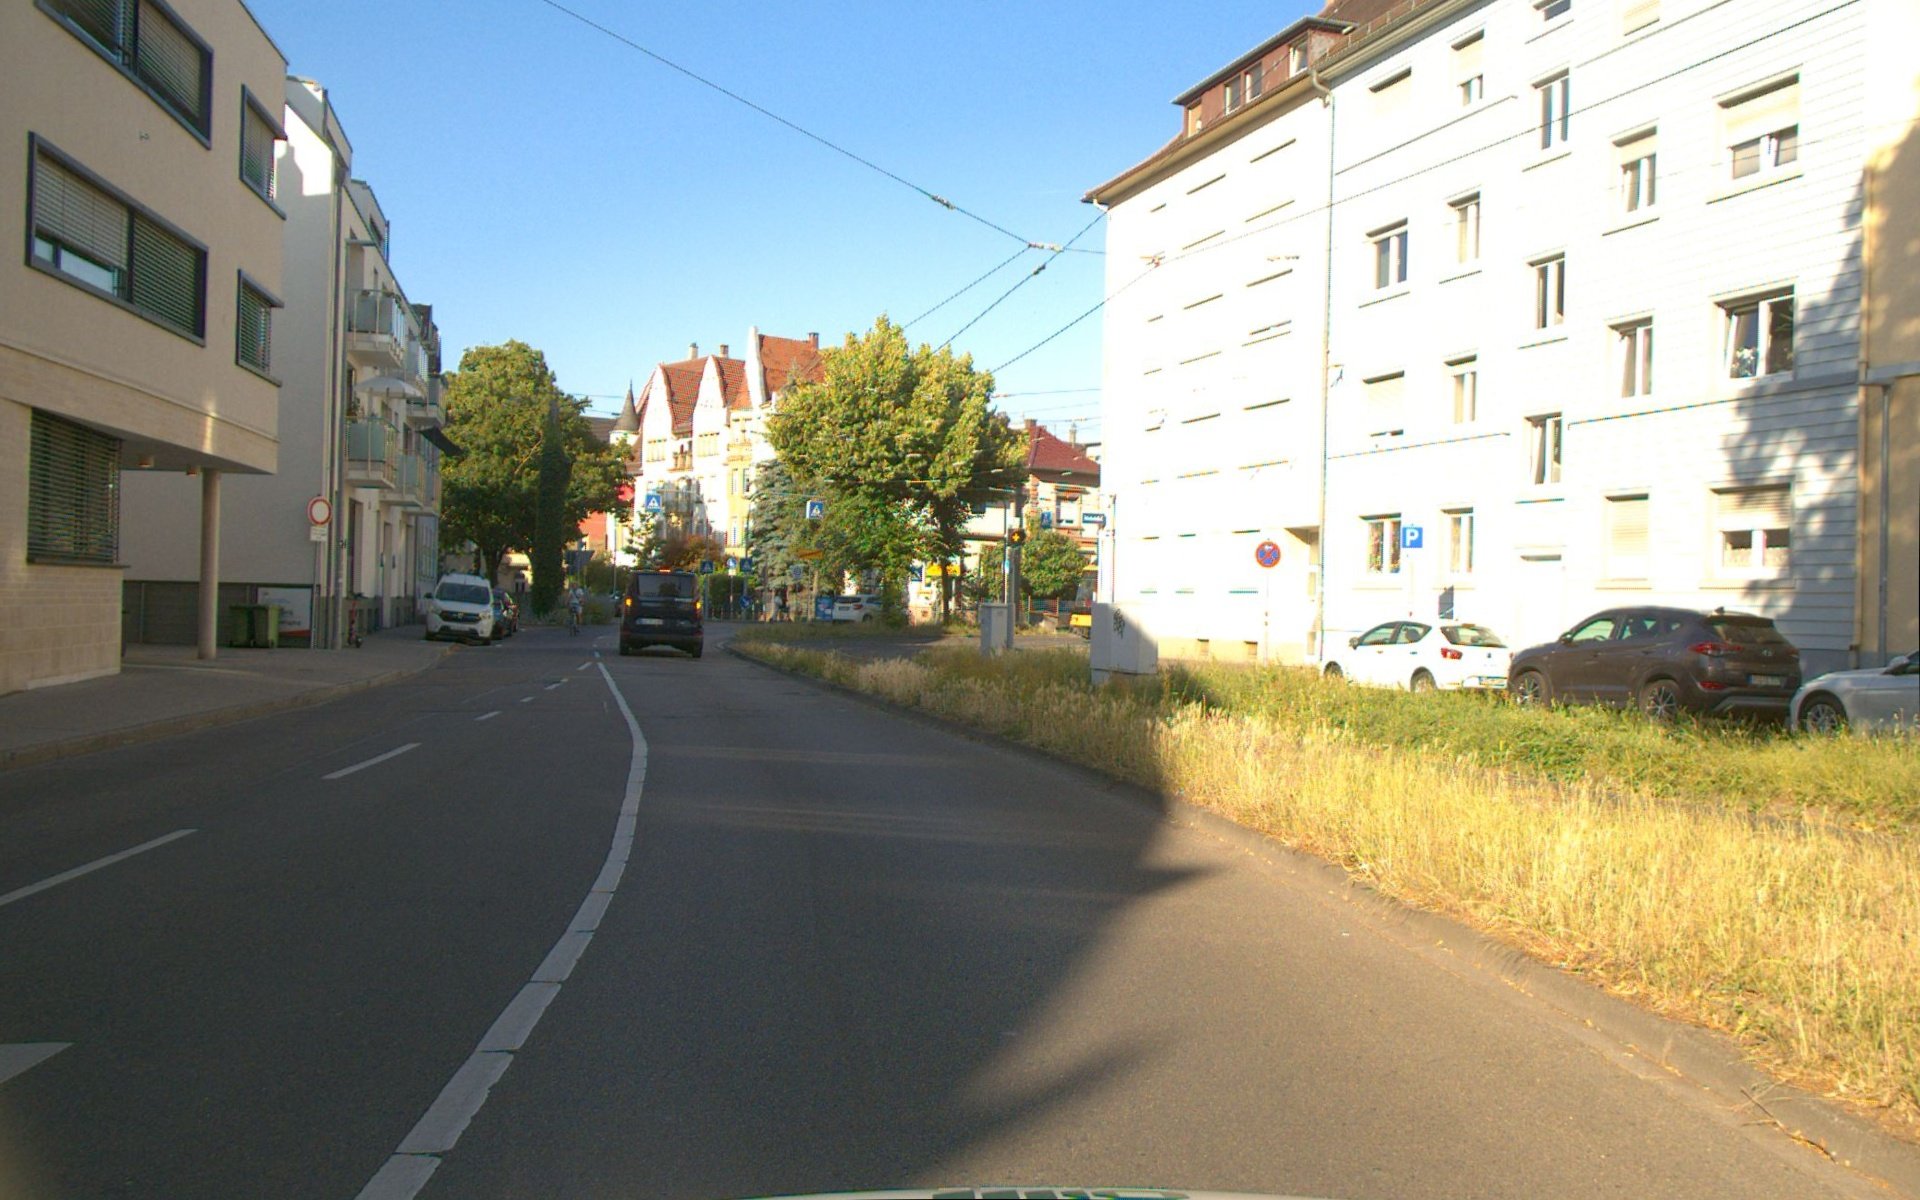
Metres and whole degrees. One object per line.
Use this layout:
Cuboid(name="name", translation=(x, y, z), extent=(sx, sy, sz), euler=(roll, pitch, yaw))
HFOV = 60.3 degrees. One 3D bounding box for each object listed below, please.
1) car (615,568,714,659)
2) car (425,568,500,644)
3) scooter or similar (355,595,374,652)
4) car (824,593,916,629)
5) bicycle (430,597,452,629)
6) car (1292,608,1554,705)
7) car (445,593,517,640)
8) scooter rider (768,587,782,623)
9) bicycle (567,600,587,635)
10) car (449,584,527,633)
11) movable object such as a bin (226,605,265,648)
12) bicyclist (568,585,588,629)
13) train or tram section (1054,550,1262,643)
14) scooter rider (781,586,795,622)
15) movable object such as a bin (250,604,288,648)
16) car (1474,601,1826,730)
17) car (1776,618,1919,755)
Cuboid(name="car", translation=(-7.143, 0.293, 40.329), extent=(1.955, 2.049, 3.996), euler=(2, 0, -5))
Cuboid(name="car", translation=(-13.589, 0.161, 45.353), extent=(1.781, 1.902, 4.313), euler=(3, -1, -16))
Cuboid(name="scooter or similar", translation=(-13.560, 0.521, 37.653), extent=(0.222, 1.241, 1.145), euler=(2, 0, -27))
Cuboid(name="car", translation=(-3.876, 0.454, 71.517), extent=(1.931, 1.531, 3.661), euler=(0, 0, 43))
Cuboid(name="bicycle", translation=(-19.330, 0.476, 61.593), extent=(0.569, 1.129, 1.858), euler=(2, -1, -22))
Cuboid(name="car", translation=(7.734, 0.888, 28.092), extent=(1.967, 1.410, 4.414), euler=(0, 1, -23))
Cuboid(name="car", translation=(-14.495, 0.502, 50.175), extent=(1.634, 1.296, 4.015), euler=(3, -1, -11))
Cuboid(name="scooter rider", translation=(-8.776, 0.227, 78.585), extent=(0.594, 1.702, 0.654), euler=(1, 0, -2))
Cuboid(name="bicycle", translation=(-12.278, 0.546, 53.100), extent=(0.612, 1.100, 1.777), euler=(0, 0, -13))
Cuboid(name="car", translation=(-15.942, 0.268, 56.051), extent=(1.676, 1.492, 4.586), euler=(3, 0, -6))
Cuboid(name="movable object such as a bin", translation=(-15.318, 0.568, 35.449), extent=(0.536, 0.917, 0.531), euler=(2, -1, 9))
Cuboid(name="bicyclist", translation=(-12.287, 0.218, 53.151), extent=(0.612, 1.404, 0.798), euler=(0, -1, -13))
Cuboid(name="train or tram section", translation=(8.342, -0.069, 68.485), extent=(9.832, 3.618, 2.743), euler=(1, 0, -42))
Cuboid(name="scooter rider", translation=(-8.166, 0.204, 78.630), extent=(0.594, 1.702, 0.654), euler=(1, 0, -2))
Cuboid(name="movable object such as a bin", translation=(-14.768, 0.548, 35.354), extent=(0.536, 0.917, 0.531), euler=(2, -1, 9))
Cuboid(name="car", translation=(9.468, 0.830, 23.156), extent=(1.965, 1.599, 4.613), euler=(0, 0, -20))
Cuboid(name="car", translation=(11.314, 0.966, 17.794), extent=(1.965, 1.410, 4.419), euler=(0, 1, -20))
